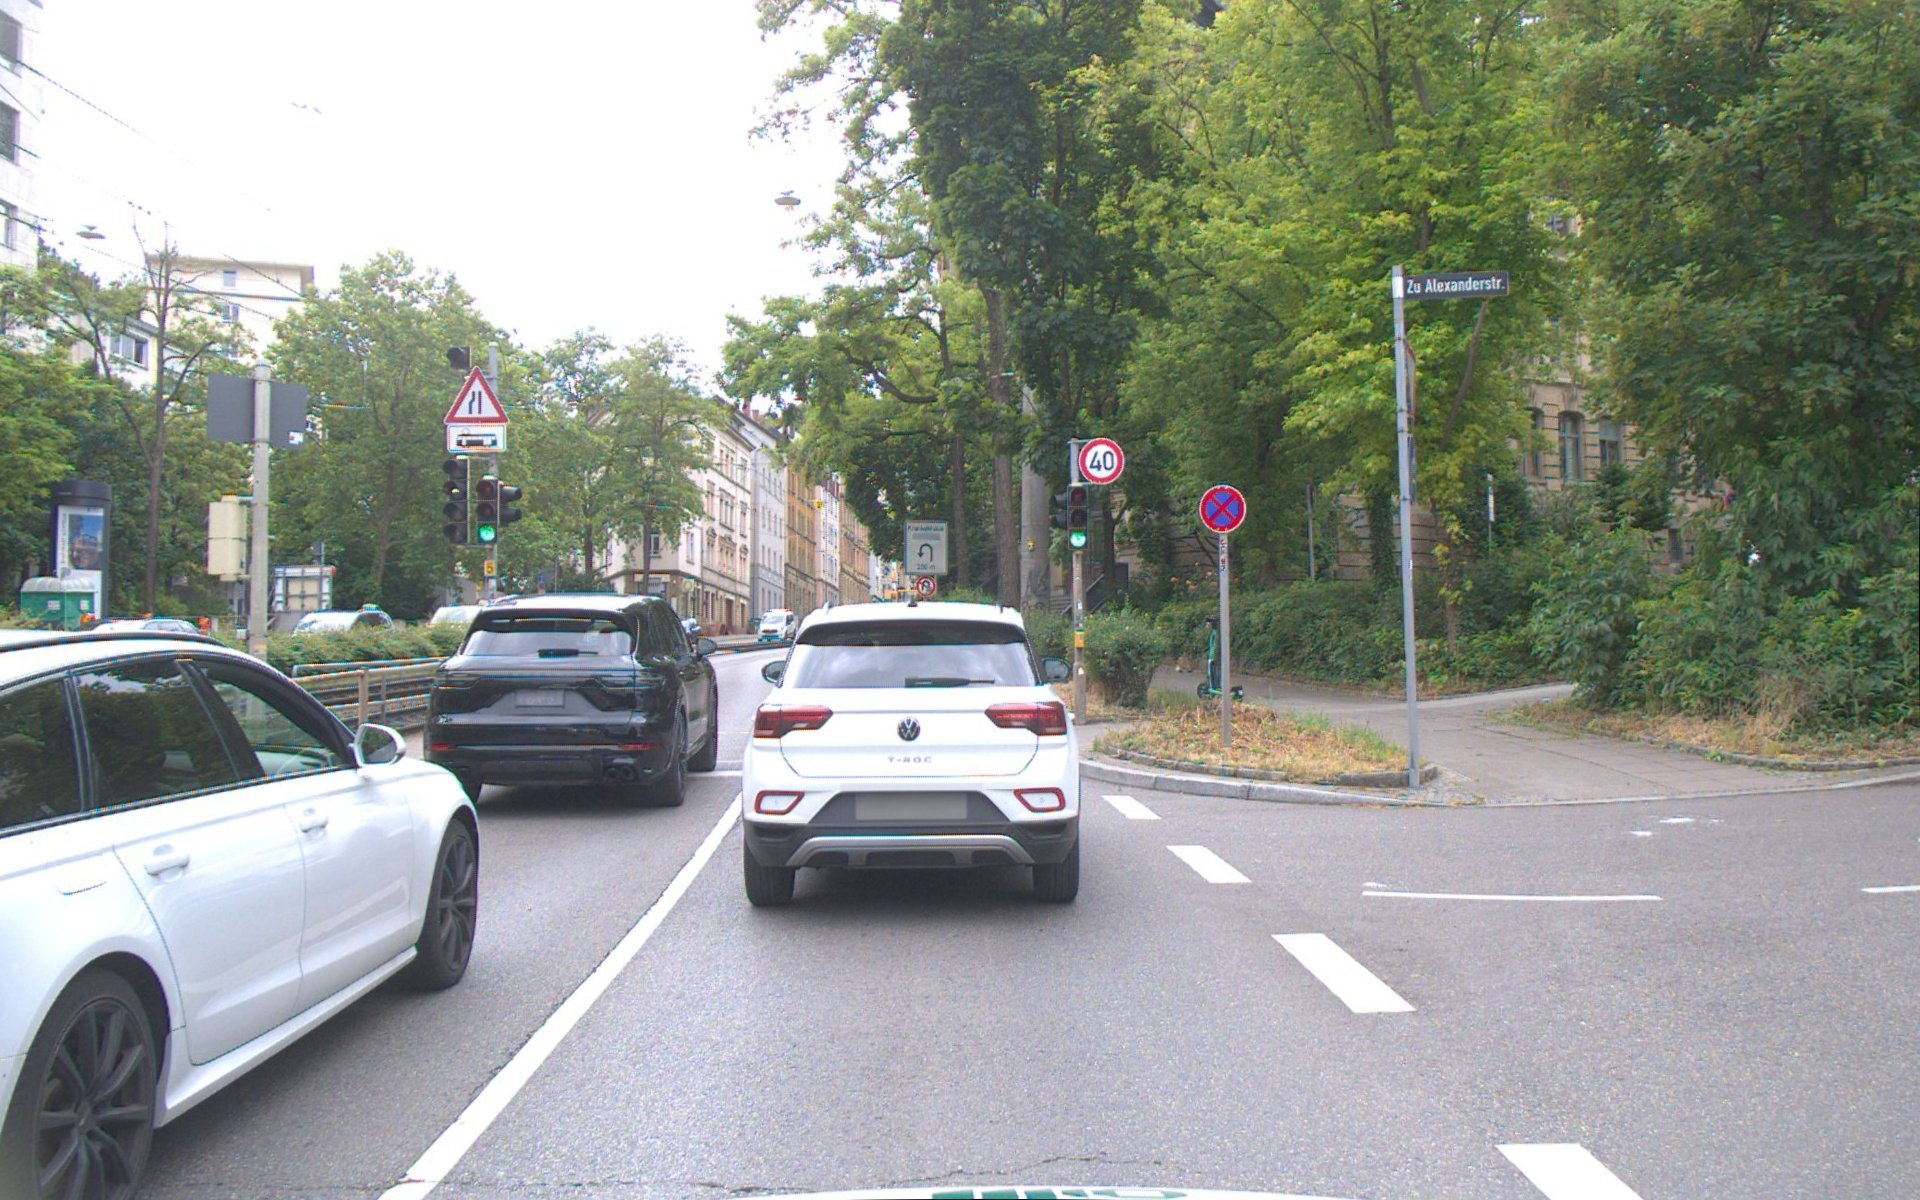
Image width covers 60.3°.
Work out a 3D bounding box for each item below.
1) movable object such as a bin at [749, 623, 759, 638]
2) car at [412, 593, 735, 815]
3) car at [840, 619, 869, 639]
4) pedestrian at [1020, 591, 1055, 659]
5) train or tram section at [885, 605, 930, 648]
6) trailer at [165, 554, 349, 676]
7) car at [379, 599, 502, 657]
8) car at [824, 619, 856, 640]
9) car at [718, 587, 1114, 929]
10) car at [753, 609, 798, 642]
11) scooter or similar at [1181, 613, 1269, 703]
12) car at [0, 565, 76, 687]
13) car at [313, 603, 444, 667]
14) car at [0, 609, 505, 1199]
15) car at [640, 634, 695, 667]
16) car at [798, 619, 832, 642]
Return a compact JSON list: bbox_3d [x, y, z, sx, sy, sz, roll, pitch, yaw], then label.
[{"bbox_3d":[-15.648,2.304,125.624,0.672,1.093,0.677,0,-1,4],"label":"movable object such as a bin"},{"bbox_3d":[-3.128,0.781,14.307,1.997,1.599,4.355,-1,-1,-4],"label":"car"},{"bbox_3d":[-8.754,2.393,137.346,1.952,1.579,4.001,-1,-1,2],"label":"car"},{"bbox_3d":[1.994,0.643,42.527,0.757,1.733,0.784,-1,-1,-8],"label":"pedestrian"},{"bbox_3d":[-4.785,2.431,154.632,2.822,3.791,14.861,1,-1,3],"label":"train or tram section"},{"bbox_3d":[-18.610,0.403,44.148,1.976,3.025,5.593,1,-1,6],"label":"trailer"},{"bbox_3d":[-15.545,0.822,49.725,1.951,1.633,4.612,-1,-1,4],"label":"car"},{"bbox_3d":[-9.233,2.276,127.296,1.952,1.579,4.001,-1,-1,2],"label":"car"},{"bbox_3d":[-0.243,0.761,9.759,1.841,1.582,3.999,-1,-1,-1],"label":"car"},{"bbox_3d":[-11.597,1.592,104.268,1.906,1.980,5.005,-1,0,4],"label":"car"},{"bbox_3d":[3.764,0.813,23.585,0.620,1.231,1.550,-1,-1,-16],"label":"scooter or similar"},{"bbox_3d":[-21.817,0.586,35.450,2.112,2.639,6.338,-1,-1,2],"label":"car"},{"bbox_3d":[-15.867,0.925,45.404,1.953,1.633,4.619,-1,-1,0],"label":"car"},{"bbox_3d":[-2.871,0.788,4.912,1.841,1.480,4.616,-1,-1,-1],"label":"car"},{"bbox_3d":[-13.869,2.363,78.552,1.729,1.432,4.083,-1,-1,2],"label":"car"},{"bbox_3d":[-10.393,2.152,118.808,1.952,1.579,4.001,-1,-1,2],"label":"car"}]
